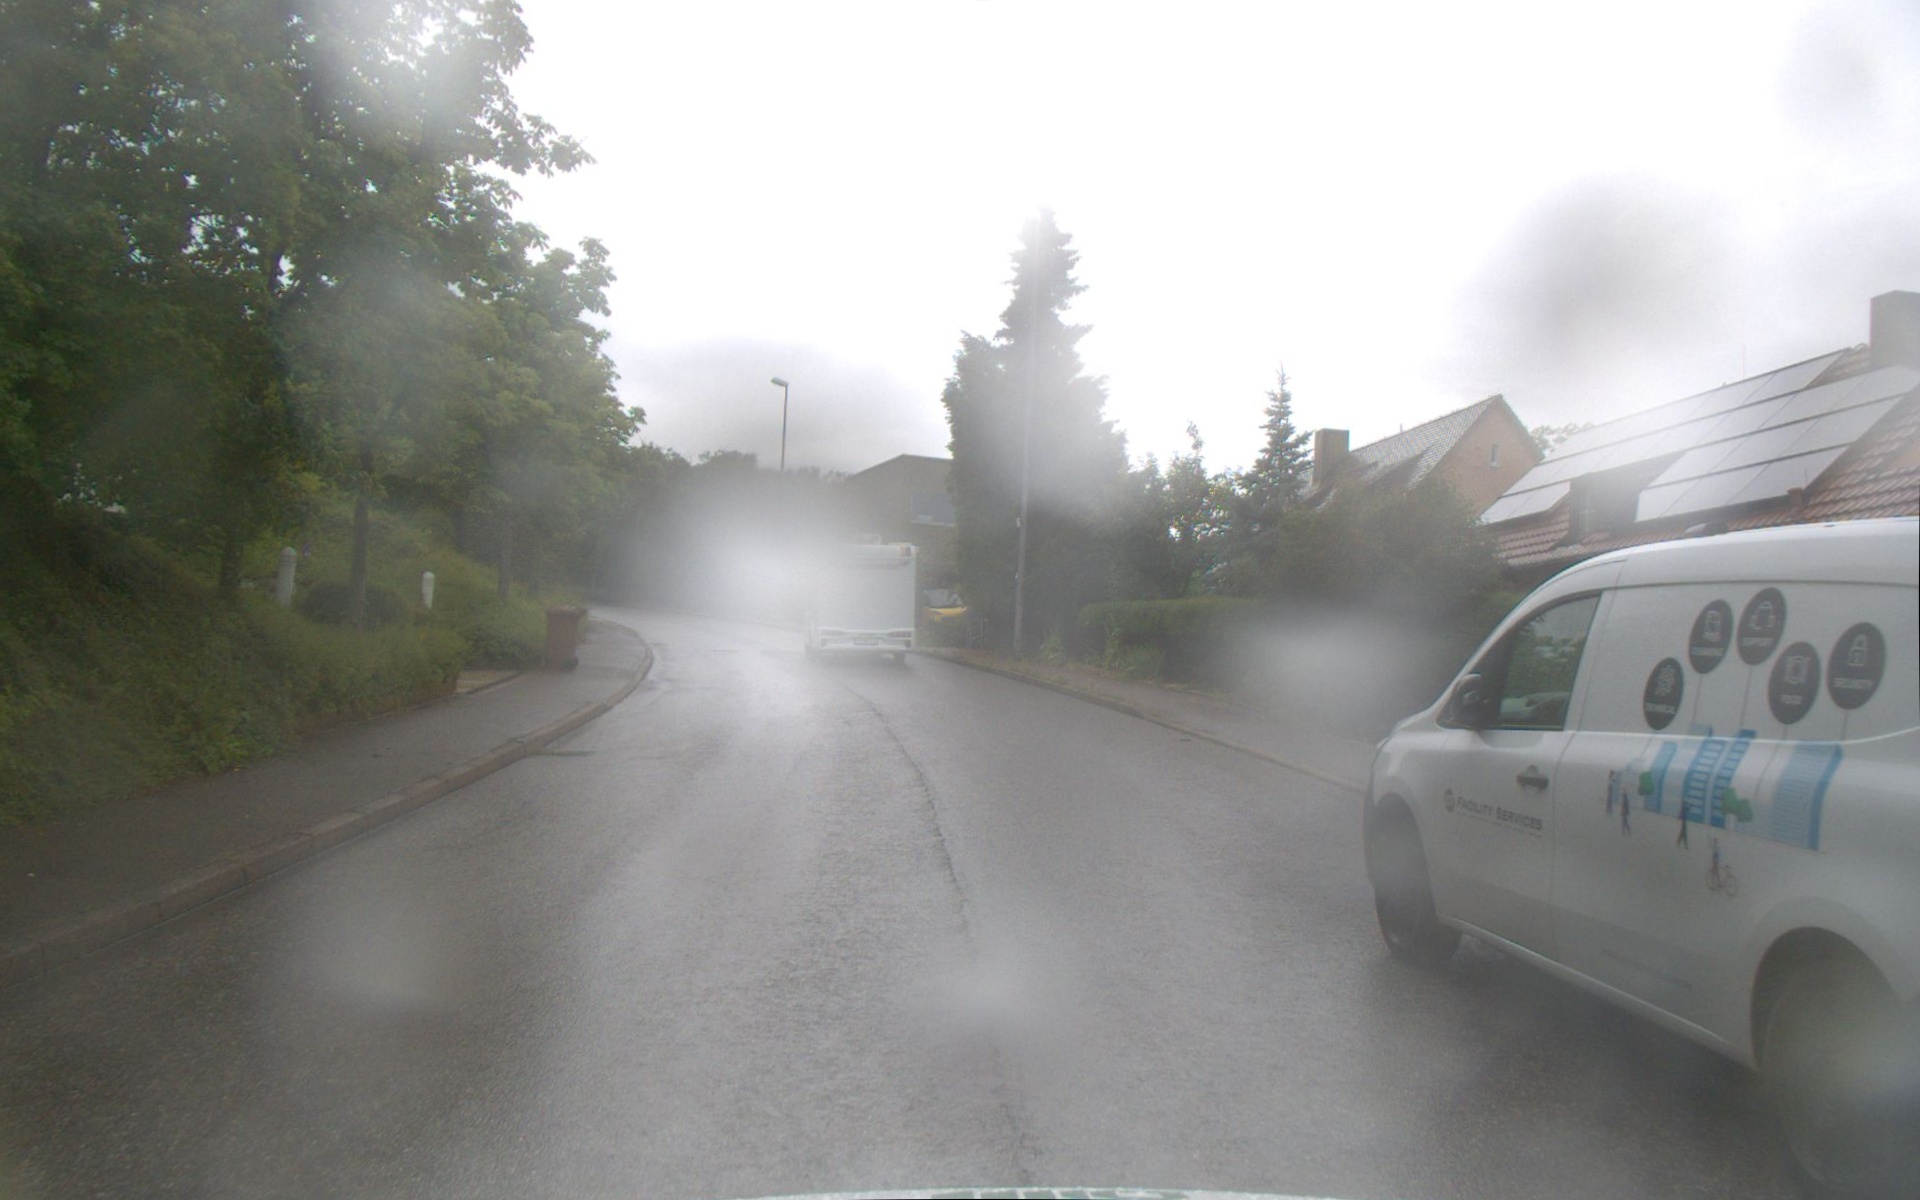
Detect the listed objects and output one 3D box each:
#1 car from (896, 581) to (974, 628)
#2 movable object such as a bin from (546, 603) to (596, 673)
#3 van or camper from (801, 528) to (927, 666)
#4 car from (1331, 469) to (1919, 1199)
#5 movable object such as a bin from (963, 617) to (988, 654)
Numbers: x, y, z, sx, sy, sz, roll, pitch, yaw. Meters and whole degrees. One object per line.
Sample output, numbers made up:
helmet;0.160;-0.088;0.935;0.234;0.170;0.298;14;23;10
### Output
car;-0.913;0.143;58.263;1.605;1.519;3.405;-4;1;-21
movable object such as a bin;-6.846;0.666;29.134;0.681;1.109;0.803;4;3;-4
van or camper;-2.388;-0.038;39.201;2.492;2.976;5.937;1;0;-8
car;2.910;0.639;5.844;1.744;1.835;4.702;1;0;-5
movable object such as a bin;0.440;0.991;46.446;0.496;0.986;0.592;5;-1;-15
